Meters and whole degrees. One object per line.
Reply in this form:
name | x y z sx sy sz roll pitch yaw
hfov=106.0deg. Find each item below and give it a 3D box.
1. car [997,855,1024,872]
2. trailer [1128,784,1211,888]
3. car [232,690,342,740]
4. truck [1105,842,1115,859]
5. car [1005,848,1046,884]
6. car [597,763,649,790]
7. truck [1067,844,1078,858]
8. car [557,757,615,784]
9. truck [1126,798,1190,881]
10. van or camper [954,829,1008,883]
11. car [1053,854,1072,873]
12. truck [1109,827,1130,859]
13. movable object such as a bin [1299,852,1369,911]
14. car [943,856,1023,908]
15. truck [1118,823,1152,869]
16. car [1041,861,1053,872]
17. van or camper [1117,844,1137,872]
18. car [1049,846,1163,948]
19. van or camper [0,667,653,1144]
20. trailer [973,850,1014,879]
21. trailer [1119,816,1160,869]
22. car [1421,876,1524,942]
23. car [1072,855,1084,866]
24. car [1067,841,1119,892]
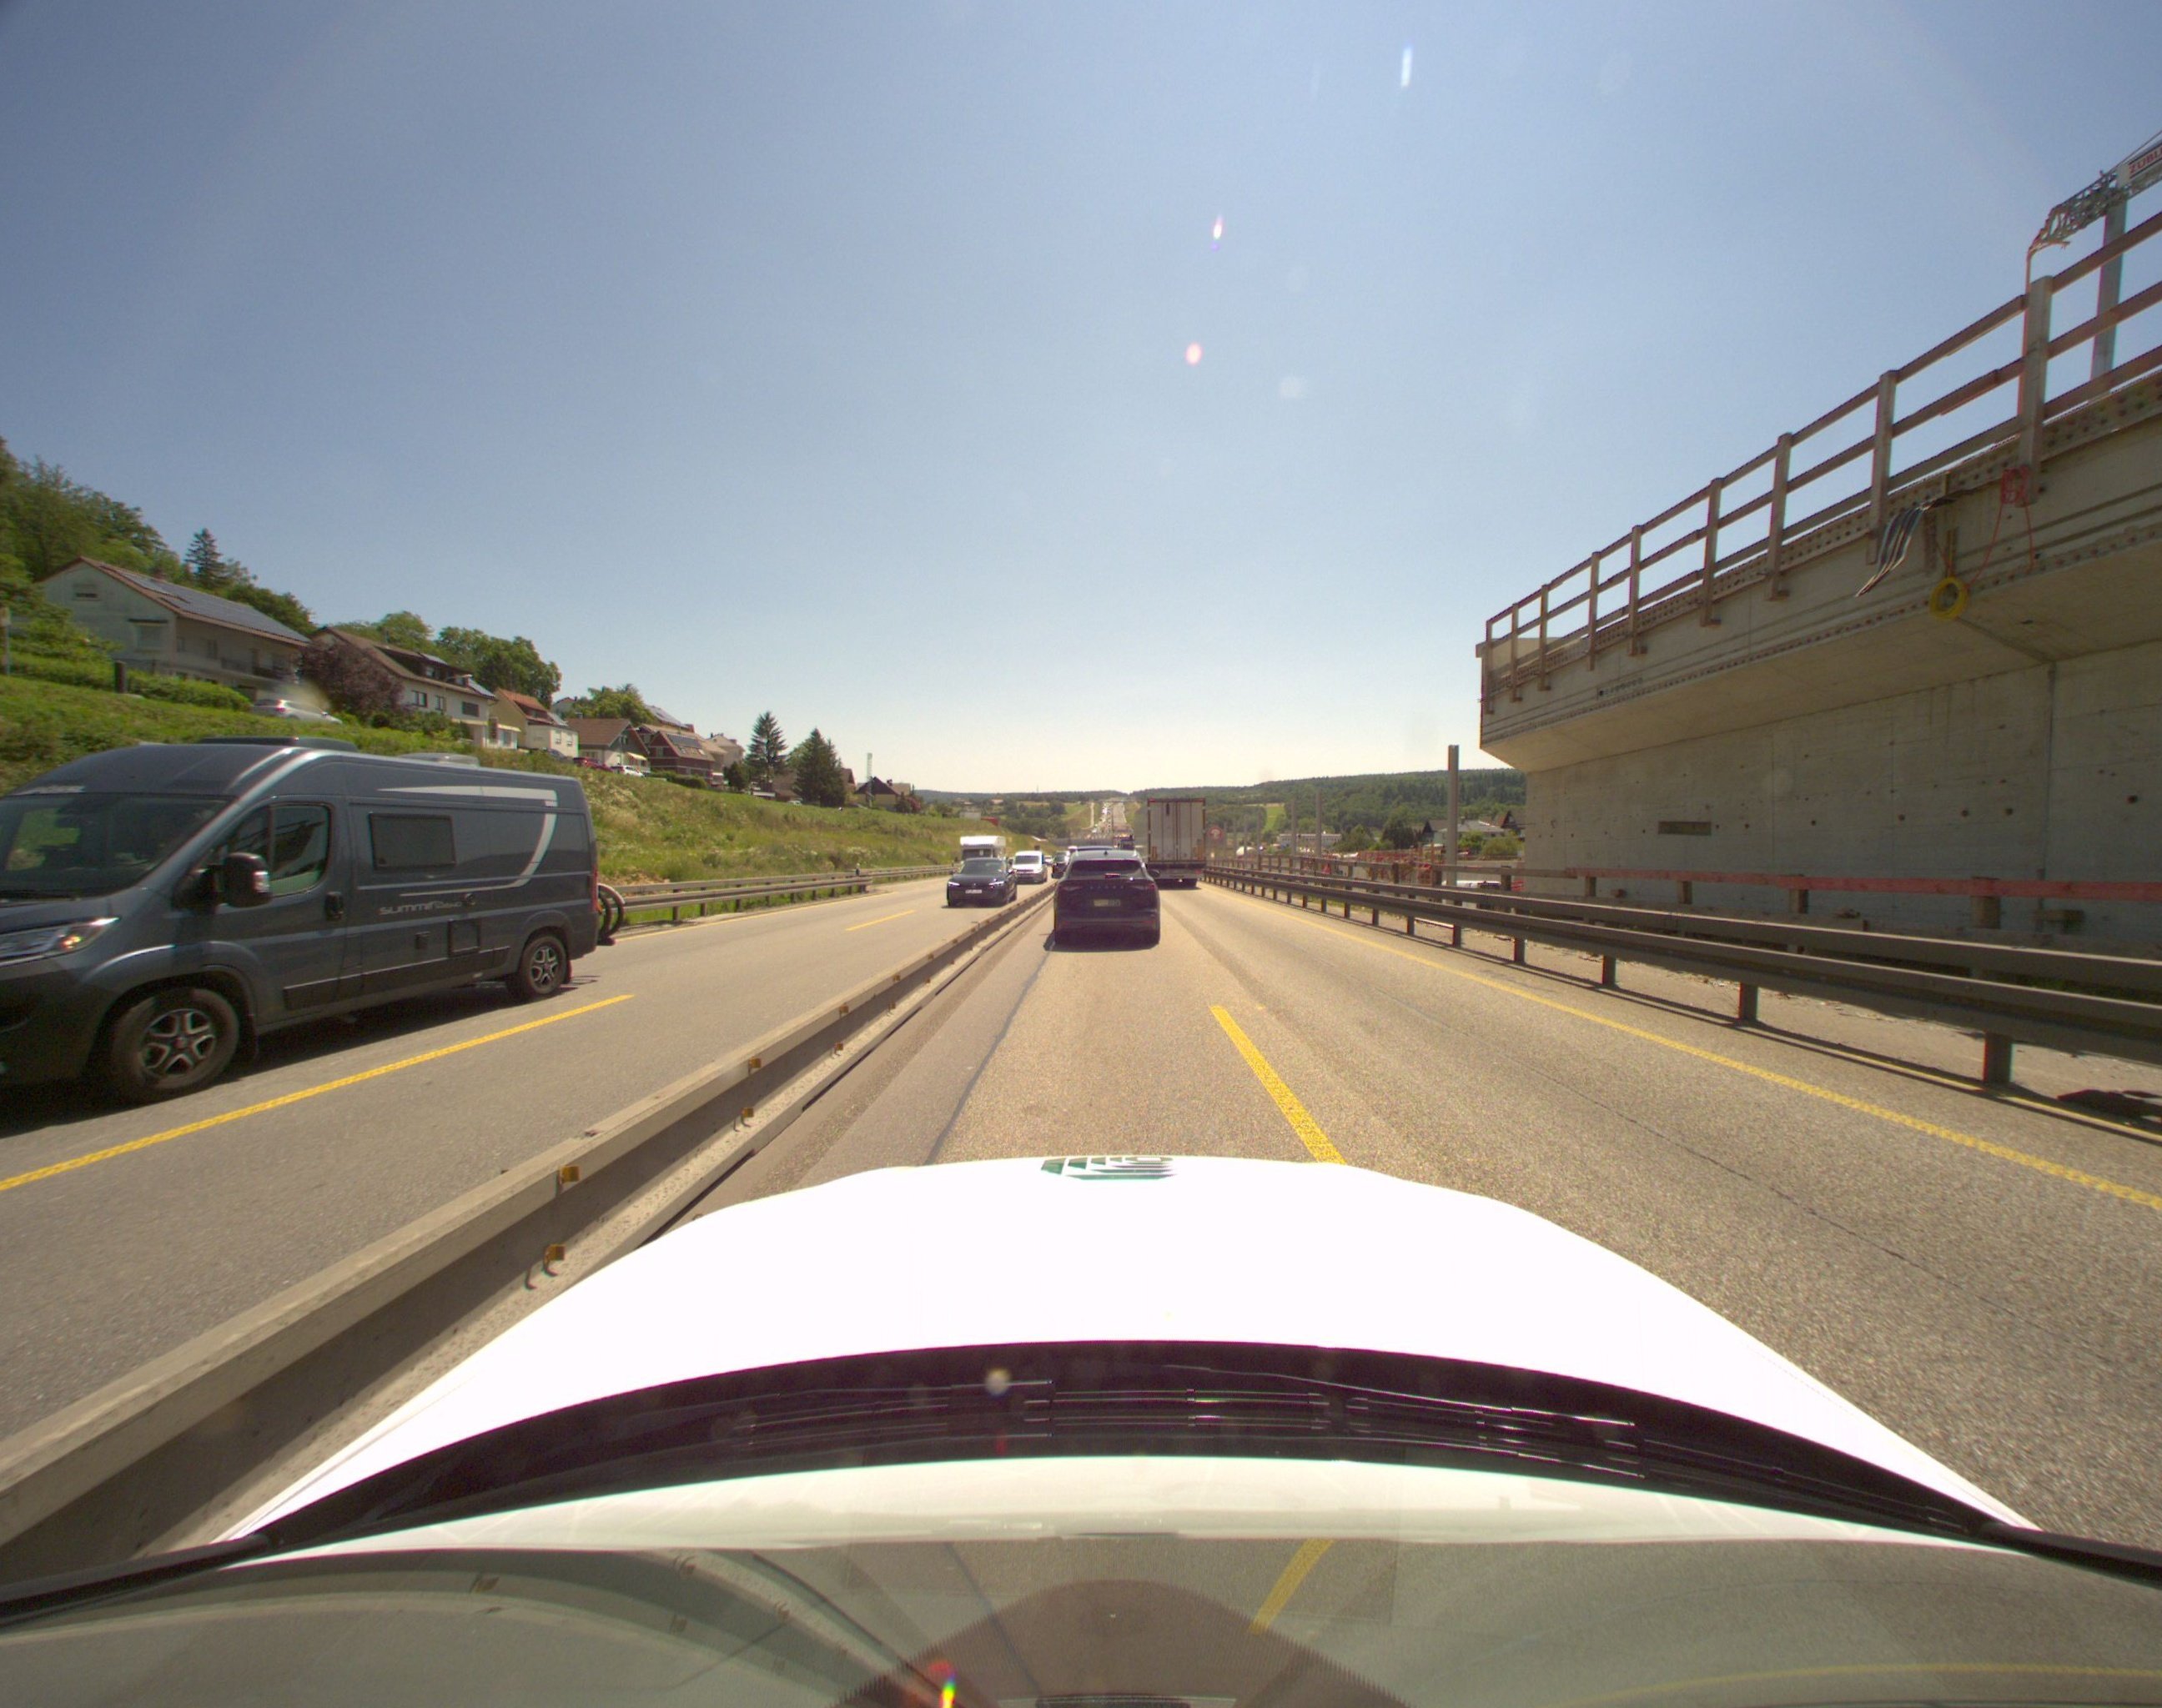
car | -6.174 0.796 71.601 1.803 1.431 4.557 0 0 1
trailer | 4.289 -0.833 42.463 3.169 4.513 13.112 -1 0 1
car | -41.059 -7.144 42.249 1.990 1.794 3.992 -1 -1 -5
truck | 8.020 -0.921 226.157 2.630 4.194 9.286 -1 -1 2
car | -3.002 0.629 45.168 1.831 1.828 5.040 -1 0 1
car | -44.309 -7.431 78.888 2.341 2.041 4.814 -1 -1 -2
truck | -2.216 -0.839 213.292 2.769 3.672 6.278 -1 0 1
car | -44.031 -7.402 72.597 2.341 1.794 4.797 -1 -1 -2
truck | 4.474 -0.818 48.921 3.169 4.513 8.168 -1 0 1
van or camper | -6.069 0.123 50.354 2.283 3.066 6.926 -1 0 1
car | -1.574 0.786 69.327 1.478 1.505 2.806 -1 0 1
truck | 5.873 -1.629 127.078 2.842 4.465 11.917 -1 -1 1
movable object such as a bin | 21.803 2.349 70.891 3.216 4.743 9.656 -1 -1 1
car | -3.016 0.808 26.055 1.836 1.475 4.836 -1 0 1
truck | 5.502 -0.721 84.342 3.169 4.513 8.167 -1 -1 1
car | -4.487 1.667 107.528 1.554 1.402 3.464 -1 -1 -1
van or camper | 5.723 0.561 101.629 2.378 3.281 6.474 -1 -1 3
car | 0.476 0.706 15.064 1.795 1.607 4.002 -1 -1 2
van or camper | -6.814 0.291 7.509 2.132 2.573 6.566 0 0 1
trailer | -5.987 0.686 56.278 2.094 1.894 5.142 -1 0 1
trailer | 5.344 -0.856 77.197 3.169 4.513 14.969 -1 -1 1
car | 18.804 2.525 39.604 2.135 2.856 7.031 -1 -1 5
car | -0.403 0.959 123.082 1.800 1.640 4.172 -1 0 0
car | 0.505 0.534 33.347 1.986 1.926 4.508 -1 -1 1
